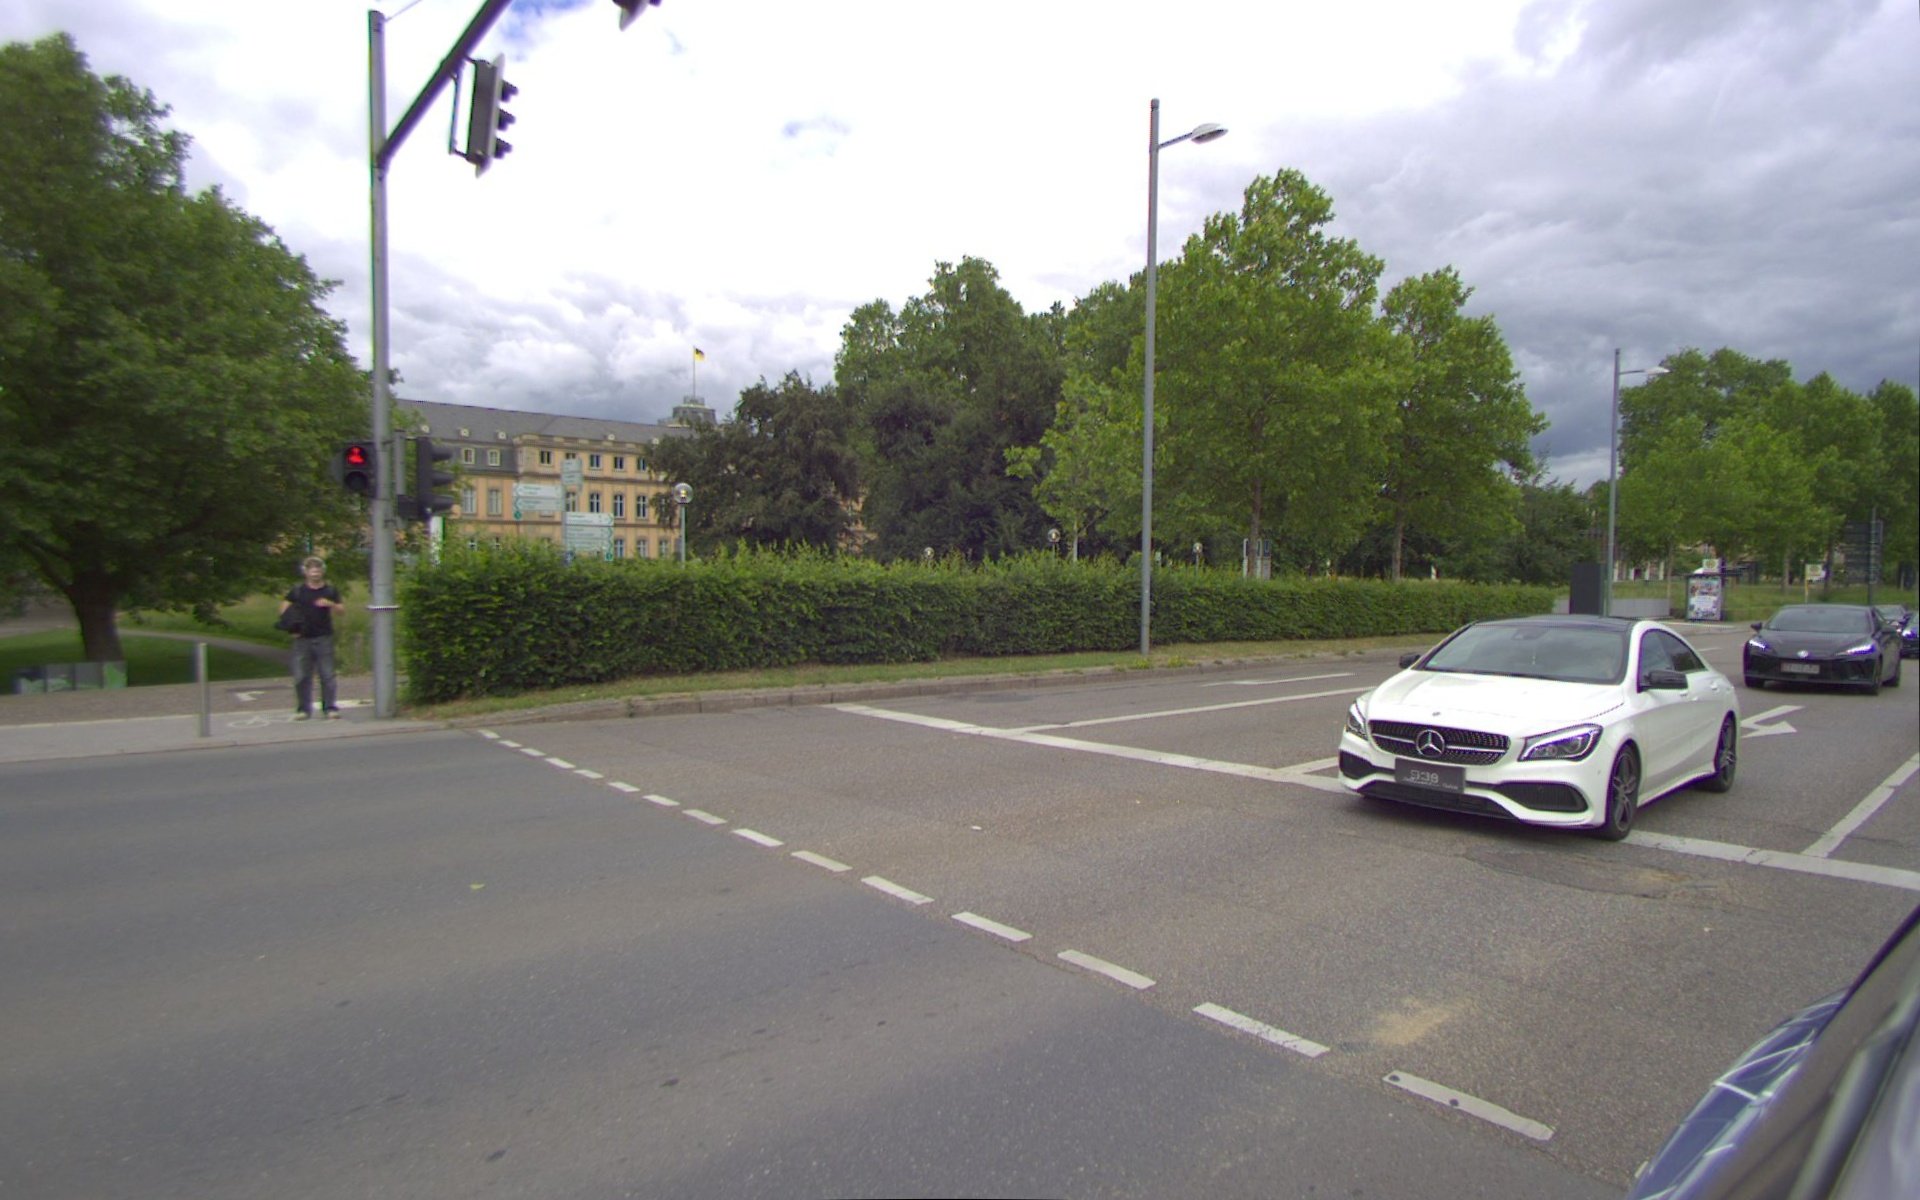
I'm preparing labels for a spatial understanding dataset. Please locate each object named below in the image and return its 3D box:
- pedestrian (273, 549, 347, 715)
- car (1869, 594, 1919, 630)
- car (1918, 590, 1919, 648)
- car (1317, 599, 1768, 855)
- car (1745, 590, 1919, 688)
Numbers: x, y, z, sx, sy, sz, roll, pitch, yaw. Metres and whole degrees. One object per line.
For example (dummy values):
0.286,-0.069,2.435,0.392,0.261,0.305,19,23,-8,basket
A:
-7.224,0.337,11.252,0.610,1.786,0.478,0,0,-44,pedestrian
40.340,0.481,43.145,3.930,1.438,1.866,0,0,-41,car
27.592,0.510,27.692,3.930,1.556,1.572,0,1,-40,car
4.751,0.731,7.954,4.427,1.441,1.722,0,1,-41,car
15.671,0.624,18.108,4.047,1.543,1.828,1,0,-41,car
